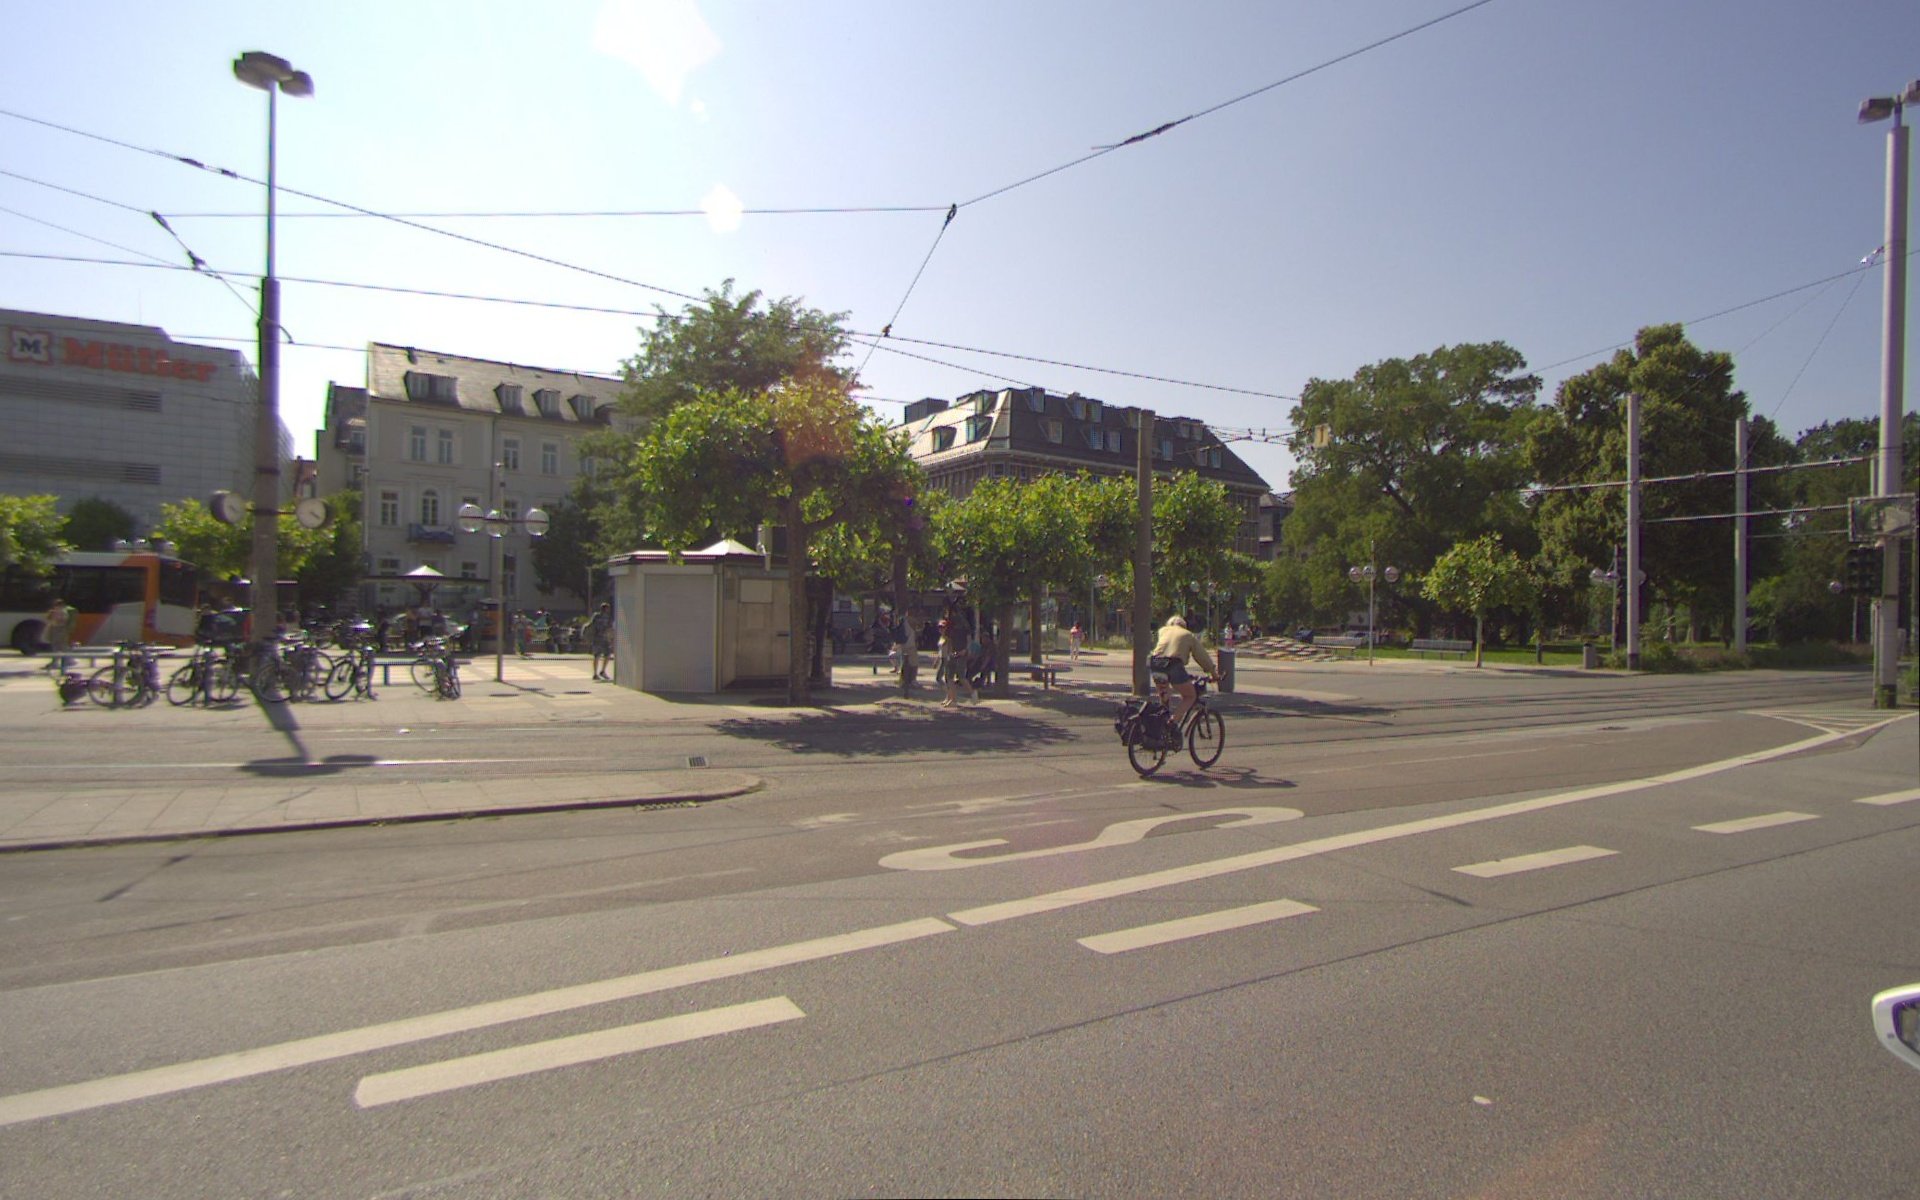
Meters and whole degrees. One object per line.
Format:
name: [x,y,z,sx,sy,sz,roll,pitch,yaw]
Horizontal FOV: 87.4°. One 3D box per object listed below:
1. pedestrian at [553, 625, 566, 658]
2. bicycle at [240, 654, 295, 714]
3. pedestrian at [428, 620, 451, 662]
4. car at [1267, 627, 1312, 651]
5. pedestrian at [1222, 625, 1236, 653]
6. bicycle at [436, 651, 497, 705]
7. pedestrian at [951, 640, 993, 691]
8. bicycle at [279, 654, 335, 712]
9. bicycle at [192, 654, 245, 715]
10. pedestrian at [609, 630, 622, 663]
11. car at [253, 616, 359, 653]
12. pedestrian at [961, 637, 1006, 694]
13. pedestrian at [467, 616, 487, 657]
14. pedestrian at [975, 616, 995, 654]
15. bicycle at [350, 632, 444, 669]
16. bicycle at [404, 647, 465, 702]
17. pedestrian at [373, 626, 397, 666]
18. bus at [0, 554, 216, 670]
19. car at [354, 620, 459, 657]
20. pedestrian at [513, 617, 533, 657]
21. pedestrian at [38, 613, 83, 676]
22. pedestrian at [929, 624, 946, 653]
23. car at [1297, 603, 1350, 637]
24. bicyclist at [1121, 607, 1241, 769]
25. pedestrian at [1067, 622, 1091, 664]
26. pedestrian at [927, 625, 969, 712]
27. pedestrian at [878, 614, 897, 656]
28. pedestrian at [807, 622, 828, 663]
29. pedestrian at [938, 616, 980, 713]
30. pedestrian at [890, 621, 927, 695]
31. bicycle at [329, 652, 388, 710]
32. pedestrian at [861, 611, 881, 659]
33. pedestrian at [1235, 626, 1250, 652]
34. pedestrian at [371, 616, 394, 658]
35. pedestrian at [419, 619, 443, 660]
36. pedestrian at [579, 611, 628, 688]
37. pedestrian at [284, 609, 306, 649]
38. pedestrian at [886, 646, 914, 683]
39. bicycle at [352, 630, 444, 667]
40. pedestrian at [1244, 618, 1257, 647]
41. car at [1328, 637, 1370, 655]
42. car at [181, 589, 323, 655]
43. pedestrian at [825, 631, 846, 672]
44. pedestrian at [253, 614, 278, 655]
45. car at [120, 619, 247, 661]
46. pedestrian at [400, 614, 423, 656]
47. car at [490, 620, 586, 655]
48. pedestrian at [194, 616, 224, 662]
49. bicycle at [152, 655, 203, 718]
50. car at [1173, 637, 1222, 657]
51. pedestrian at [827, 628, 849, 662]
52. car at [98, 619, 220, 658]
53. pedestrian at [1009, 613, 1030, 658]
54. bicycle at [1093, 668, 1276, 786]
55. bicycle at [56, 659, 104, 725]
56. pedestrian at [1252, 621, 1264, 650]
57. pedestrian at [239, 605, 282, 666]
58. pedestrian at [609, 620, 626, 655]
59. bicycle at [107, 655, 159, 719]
pedestrian: [-15.404,1.594,38.609,0.447,1.279,0.515,0,-3,-26]
bicycle: [-12.179,1.454,17.641,0.542,0.868,1.847,1,1,-42]
pedestrian: [-18.787,1.473,36.270,0.674,1.484,0.619,0,-3,-35]
car: [29.910,3.490,91.251,3.602,2.041,1.983,1,1,-31]
pedestrian: [15.832,2.292,59.091,0.615,1.630,0.488,1,-3,-40]
bicycle: [-9.636,1.503,19.591,0.577,0.881,1.847,1,1,-42]
pedestrian: [0.284,1.572,24.132,0.745,1.186,0.670,0,-3,-36]
bicycle: [-11.728,1.464,18.019,0.542,0.868,1.847,1,1,-42]
bicycle: [-12.870,1.441,17.415,0.542,0.868,1.847,1,1,-42]
pedestrian: [-13.375,1.809,39.006,0.445,1.279,0.517,-1,-2,-16]
car: [-29.787,1.559,45.805,3.962,1.528,1.743,1,1,-36]
pedestrian: [0.541,1.488,23.052,0.745,1.263,0.670,0,-3,-36]
pedestrian: [-18.028,1.357,37.499,0.671,1.484,0.621,0,-3,-26]
pedestrian: [1.200,1.668,47.798,0.612,1.751,0.737,0,-2,-31]
bicycle: [-21.940,1.966,39.238,3.110,1.397,0.816,1,1,-24]
bicycle: [-10.054,1.406,19.184,0.577,0.881,1.847,1,1,-42]
pedestrian: [-21.622,1.739,37.754,0.735,1.484,0.782,0,-3,-35]
bus: [-31.105,0.258,31.539,12.240,3.465,3.060,1,1,-11]
car: [-24.852,1.704,45.146,3.962,1.528,1.743,1,1,-36]
pedestrian: [-16.452,1.396,37.827,0.671,1.484,0.621,0,-3,-26]
pedestrian: [-21.880,1.086,24.437,0.616,1.484,0.677,0,-3,-24]
pedestrian: [-1.087,1.863,48.376,0.591,1.377,0.565,0,-3,-31]
car: [36.969,2.035,102.093,5.358,3.361,2.115,1,1,-31]
bicyclist: [2.365,0.920,10.799,0.892,1.643,0.814,0,-4,-30]
pedestrian: [4.959,1.800,41.921,0.697,1.728,0.673,0,-2,-31]
pedestrian: [-0.230,1.296,19.181,0.617,1.630,0.524,0,-2,-21]
pedestrian: [-3.127,1.519,43.168,0.537,1.771,0.629,-2,-3,38]
pedestrian: [-6.088,1.810,42.911,0.612,1.751,0.737,0,-2,-31]
pedestrian: [-0.022,1.197,18.637,0.517,1.756,0.587,-3,-3,30]
pedestrian: [-1.162,1.314,22.746,0.566,1.630,0.602,-3,-3,31]
bicycle: [-11.114,1.473,18.531,0.577,0.881,1.847,1,1,-42]
pedestrian: [-3.787,1.484,42.722,0.537,2.034,0.629,-2,-3,38]
pedestrian: [16.392,2.260,58.308,0.656,1.512,0.521,0,-3,-38]
pedestrian: [-21.064,1.352,36.657,0.620,1.484,0.577,1,-3,-42]
pedestrian: [-19.411,1.434,36.841,0.674,1.484,0.619,0,-3,-37]
pedestrian: [-8.327,1.150,23.483,0.822,1.751,0.753,-2,-2,5]
pedestrian: [-24.849,1.083,37.519,0.578,1.484,0.559,-3,-3,41]
pedestrian: [-1.673,1.789,28.029,0.573,1.014,0.632,0,-3,-27]
bicycle: [-22.354,1.914,40.031,3.110,1.397,0.816,1,1,-24]
pedestrian: [16.185,1.807,55.893,0.460,1.630,0.449,0,-3,-30]
car: [35.632,4.204,91.996,3.962,1.528,1.743,1,1,-36]
car: [-33.134,1.014,47.176,5.347,2.926,1.939,1,1,-36]
pedestrian: [-5.380,2.213,43.381,0.612,1.751,0.737,0,-2,-31]
pedestrian: [-25.601,1.286,37.022,0.672,1.484,0.621,0,-3,-27]
car: [-31.213,1.594,40.521,3.962,1.528,1.743,1,1,-36]
pedestrian: [-19.633,1.267,35.958,0.673,1.484,0.619,0,-3,-33]
car: [-20.366,1.790,48.547,3.962,1.528,1.743,1,1,-36]
pedestrian: [-24.307,1.260,32.536,0.672,1.484,0.621,0,-3,-27]
bicycle: [-13.289,1.441,17.032,0.542,0.868,1.847,1,1,-42]
car: [19.684,3.860,83.218,3.962,1.528,1.743,1,1,-36]
pedestrian: [-5.154,1.914,42.588,0.614,1.403,0.734,1,-3,-42]
car: [-34.003,1.619,42.774,3.962,1.528,1.743,1,1,-36]
pedestrian: [2.727,1.633,46.305,0.726,2.034,0.627,0,-2,-25]
bicycle: [2.427,1.318,10.823,1.852,1.135,0.814,1,-3,-30]
bicycle: [-14.334,1.467,16.346,0.542,0.868,1.847,1,1,-42]
pedestrian: [16.807,1.999,56.642,0.491,1.630,0.410,1,-3,-39]
pedestrian: [-17.505,0.886,25.130,0.667,1.484,0.625,-2,-2,22]
pedestrian: [-12.539,1.372,36.755,0.573,1.279,0.620,0,-2,-21]
bicycle: [-13.838,1.421,16.786,0.579,0.883,1.847,1,1,-42]
